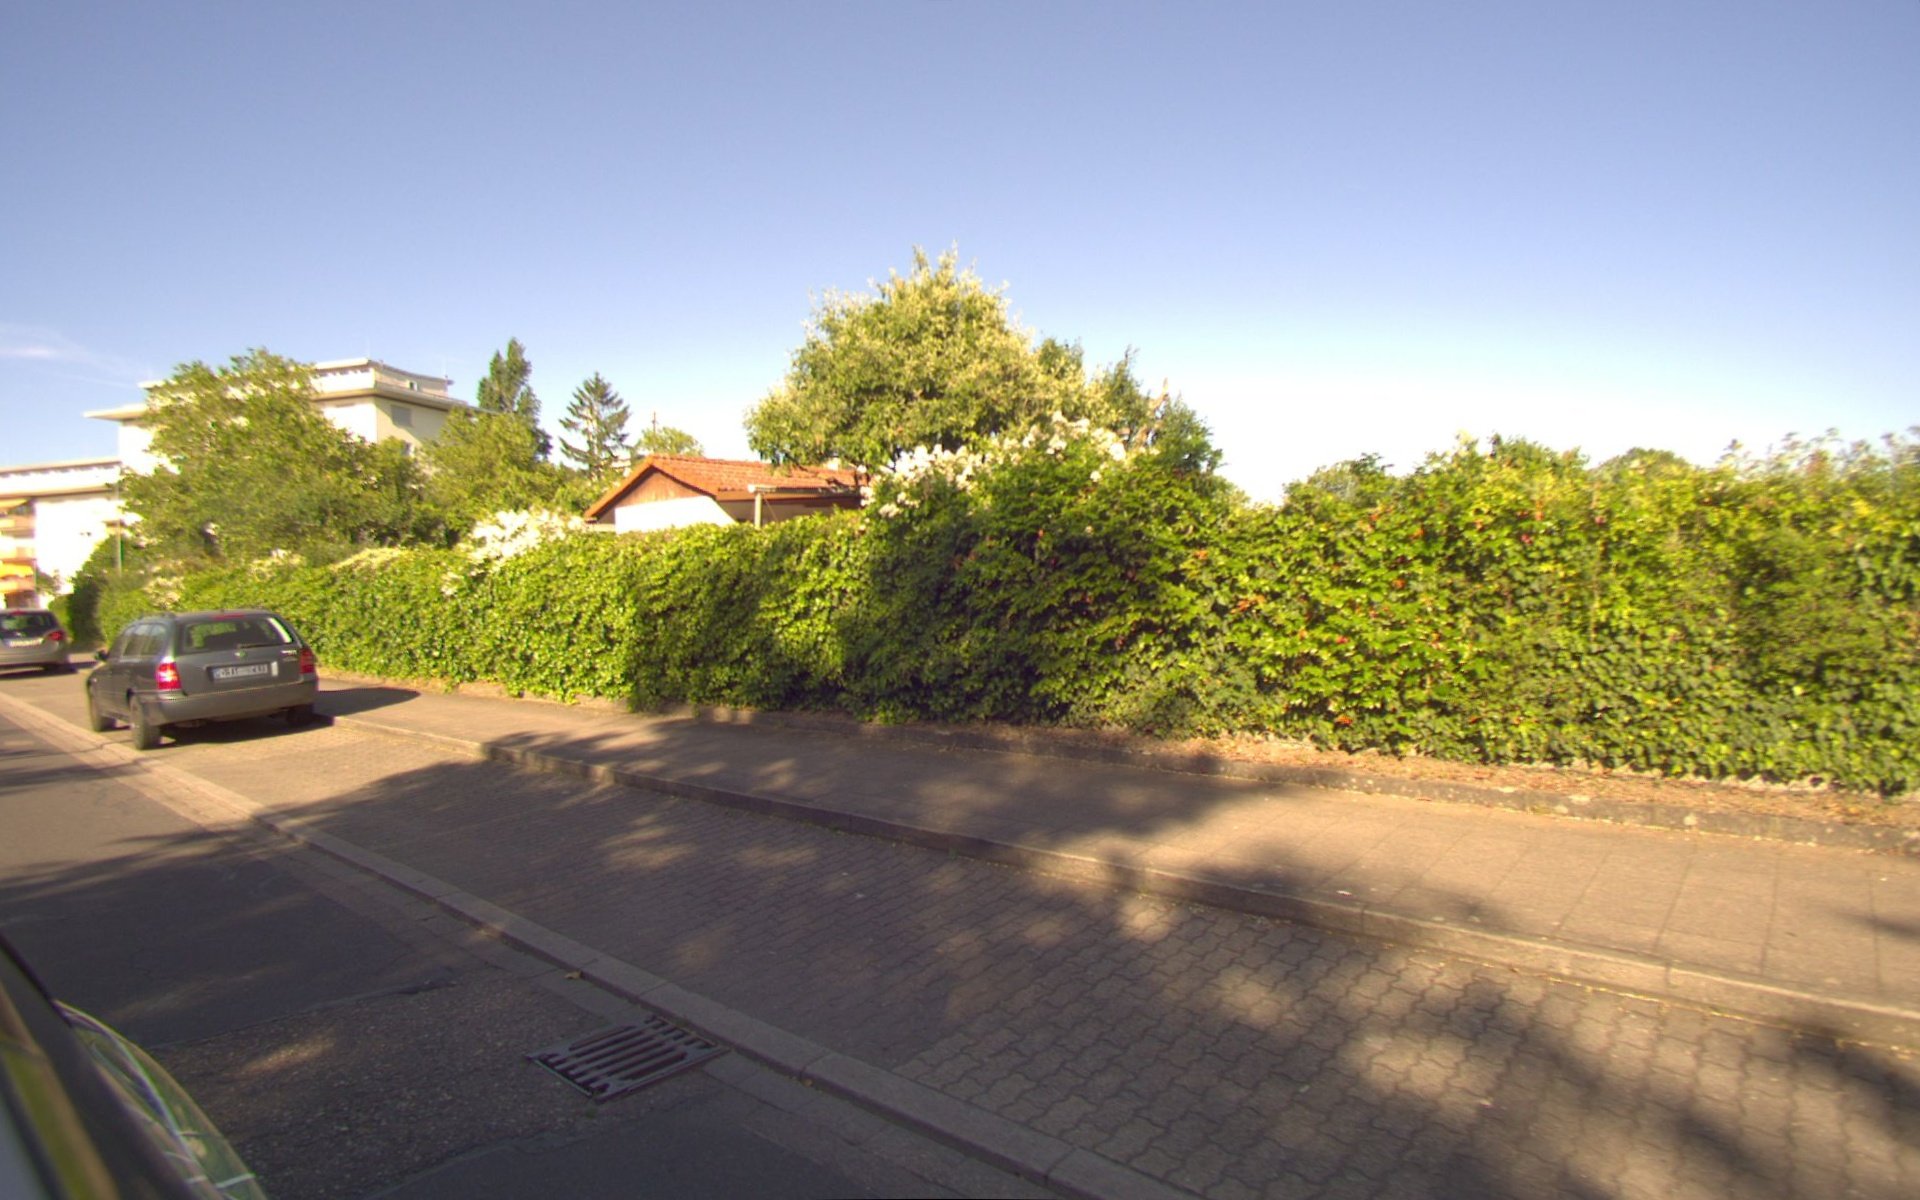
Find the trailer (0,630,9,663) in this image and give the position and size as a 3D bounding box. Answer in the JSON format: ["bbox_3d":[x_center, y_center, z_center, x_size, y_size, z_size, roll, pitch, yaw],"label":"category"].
[{"bbox_3d":[-30.484,1.475,31.213,2.648,0.960,1.527,-1,2,44],"label":"trailer"}]

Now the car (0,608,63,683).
[{"bbox_3d":[-22.811,1.059,24.172,4.312,1.611,1.626,-1,2,43],"label":"car"}]

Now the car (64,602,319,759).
[{"bbox_3d":[-9.493,0.857,12.360,4.415,1.568,1.626,-1,0,41],"label":"car"}]
